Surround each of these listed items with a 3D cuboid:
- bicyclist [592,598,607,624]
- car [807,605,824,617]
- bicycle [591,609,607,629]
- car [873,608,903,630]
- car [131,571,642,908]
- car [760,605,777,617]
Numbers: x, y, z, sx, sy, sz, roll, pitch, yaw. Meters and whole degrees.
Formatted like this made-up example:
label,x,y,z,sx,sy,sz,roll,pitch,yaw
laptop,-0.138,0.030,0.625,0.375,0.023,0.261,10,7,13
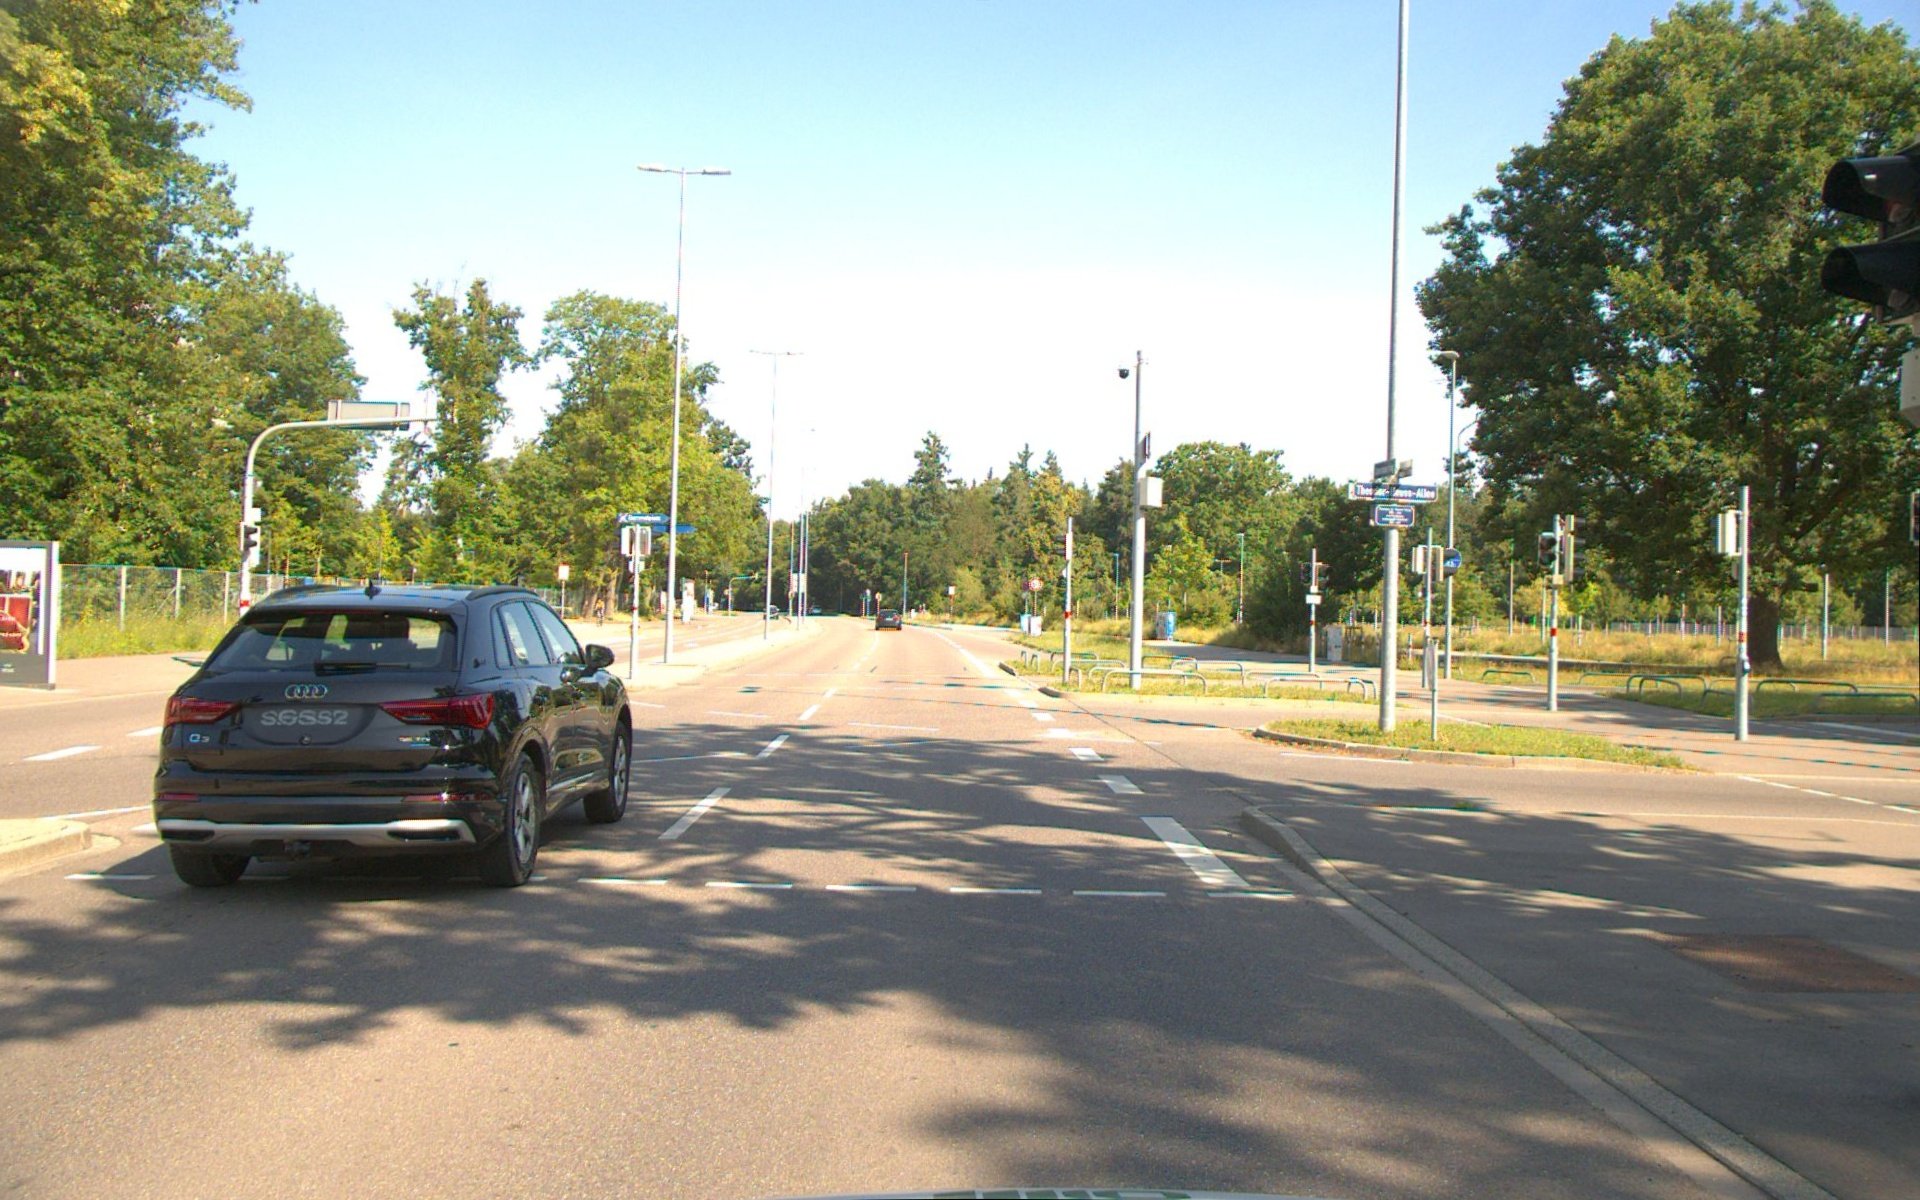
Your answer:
label,x,y,z,sx,sy,sz,roll,pitch,yaw
bicyclist,-21.702,0.666,99.549,0.647,1.493,1.056,3,0,-4
car,-22.370,1.709,255.476,1.960,1.780,3.985,1,-1,-14
bicycle,-21.744,1.111,99.638,0.647,1.155,1.877,3,0,-4
car,-5.032,1.303,114.703,1.903,1.445,4.288,1,0,-5
car,-3.083,0.658,9.827,1.653,1.571,4.147,0,0,-1
car,-22.573,1.261,194.707,1.778,1.412,4.151,-1,0,-11
